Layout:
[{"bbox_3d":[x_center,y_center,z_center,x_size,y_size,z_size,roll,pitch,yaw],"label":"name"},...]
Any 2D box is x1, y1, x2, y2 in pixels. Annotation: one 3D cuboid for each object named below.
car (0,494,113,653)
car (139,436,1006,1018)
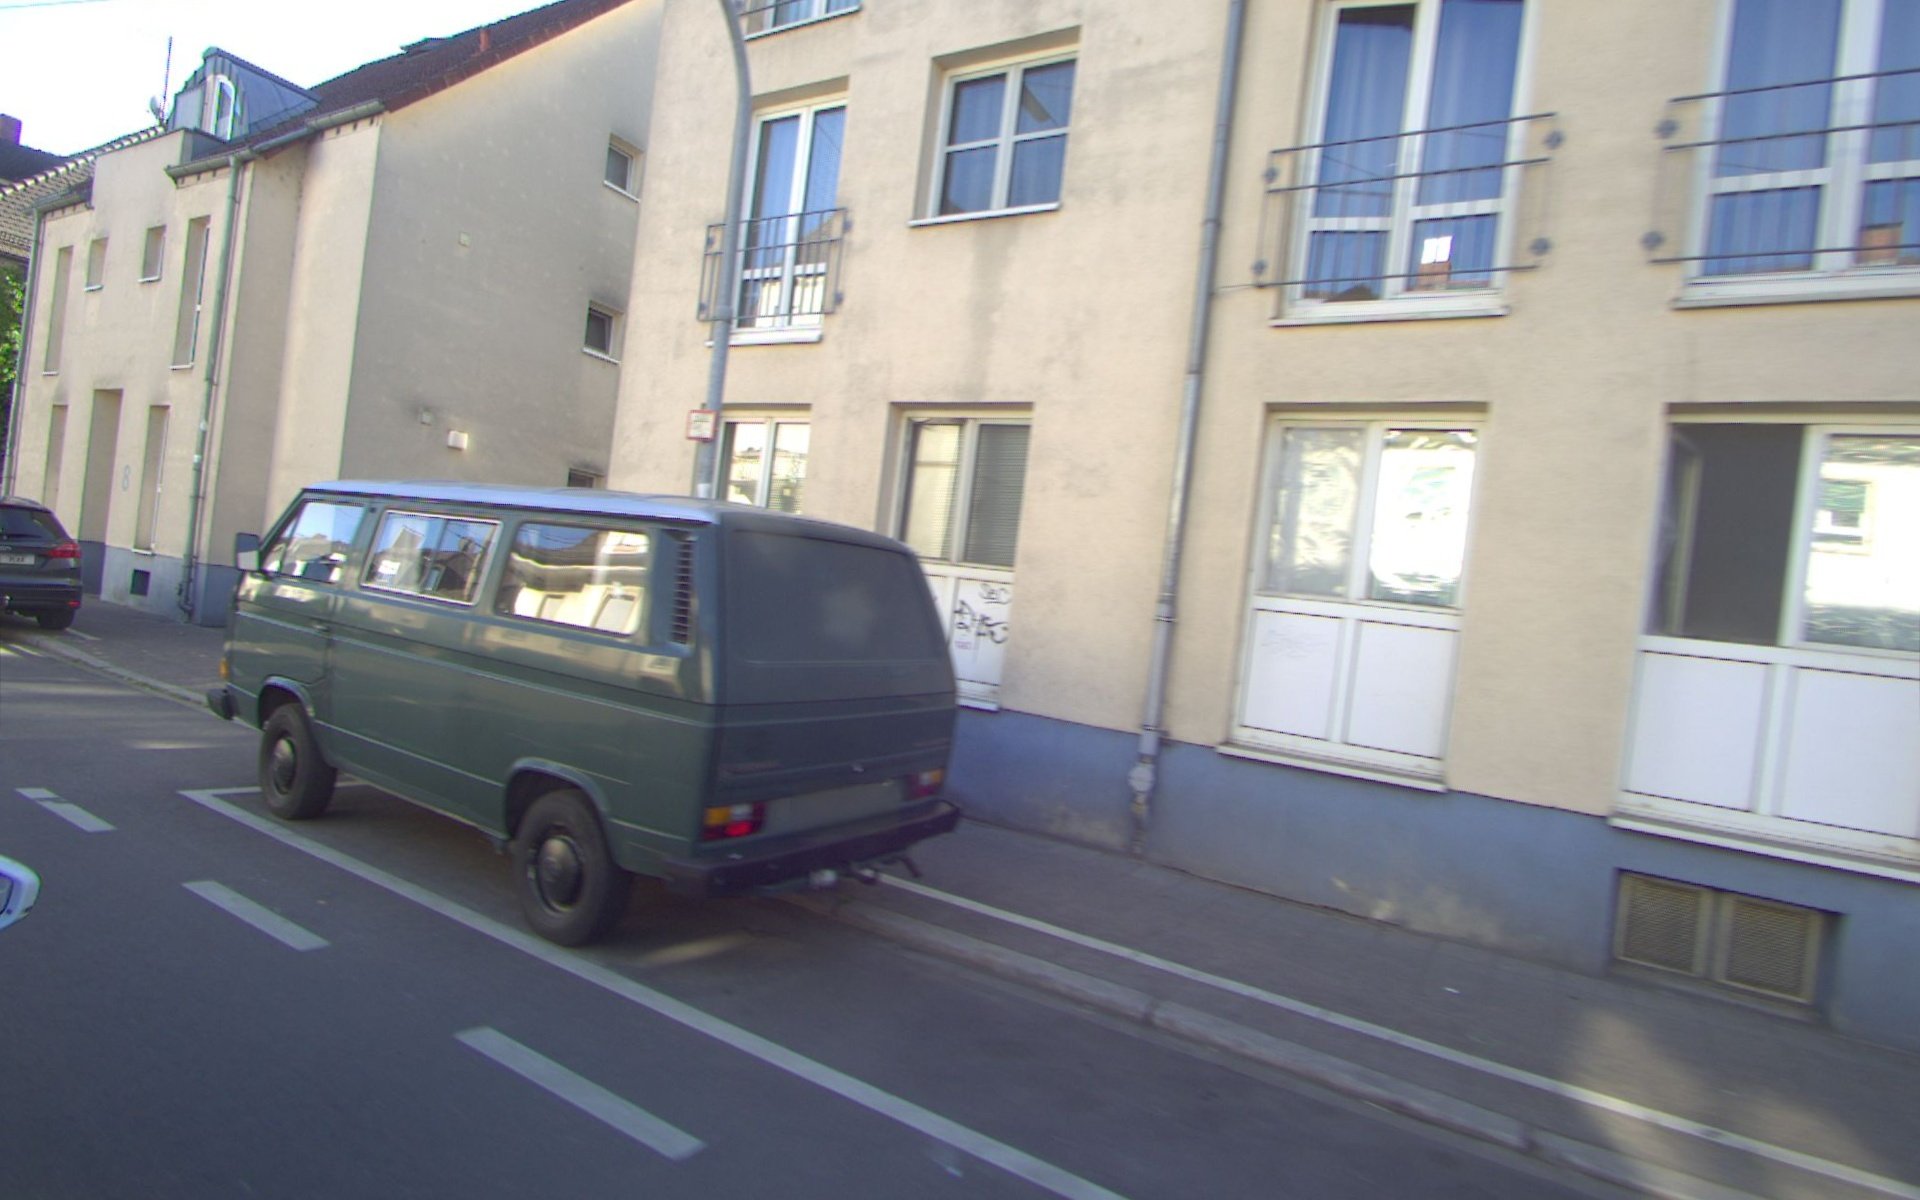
[{"bbox_3d":[-11.968,-0.518,11.673,4.358,1.617,1.749,7,-2,30],"label":"car"},{"bbox_3d":[-2.274,0.362,5.557,4.486,2.010,1.910,7,-2,31],"label":"car"}]
